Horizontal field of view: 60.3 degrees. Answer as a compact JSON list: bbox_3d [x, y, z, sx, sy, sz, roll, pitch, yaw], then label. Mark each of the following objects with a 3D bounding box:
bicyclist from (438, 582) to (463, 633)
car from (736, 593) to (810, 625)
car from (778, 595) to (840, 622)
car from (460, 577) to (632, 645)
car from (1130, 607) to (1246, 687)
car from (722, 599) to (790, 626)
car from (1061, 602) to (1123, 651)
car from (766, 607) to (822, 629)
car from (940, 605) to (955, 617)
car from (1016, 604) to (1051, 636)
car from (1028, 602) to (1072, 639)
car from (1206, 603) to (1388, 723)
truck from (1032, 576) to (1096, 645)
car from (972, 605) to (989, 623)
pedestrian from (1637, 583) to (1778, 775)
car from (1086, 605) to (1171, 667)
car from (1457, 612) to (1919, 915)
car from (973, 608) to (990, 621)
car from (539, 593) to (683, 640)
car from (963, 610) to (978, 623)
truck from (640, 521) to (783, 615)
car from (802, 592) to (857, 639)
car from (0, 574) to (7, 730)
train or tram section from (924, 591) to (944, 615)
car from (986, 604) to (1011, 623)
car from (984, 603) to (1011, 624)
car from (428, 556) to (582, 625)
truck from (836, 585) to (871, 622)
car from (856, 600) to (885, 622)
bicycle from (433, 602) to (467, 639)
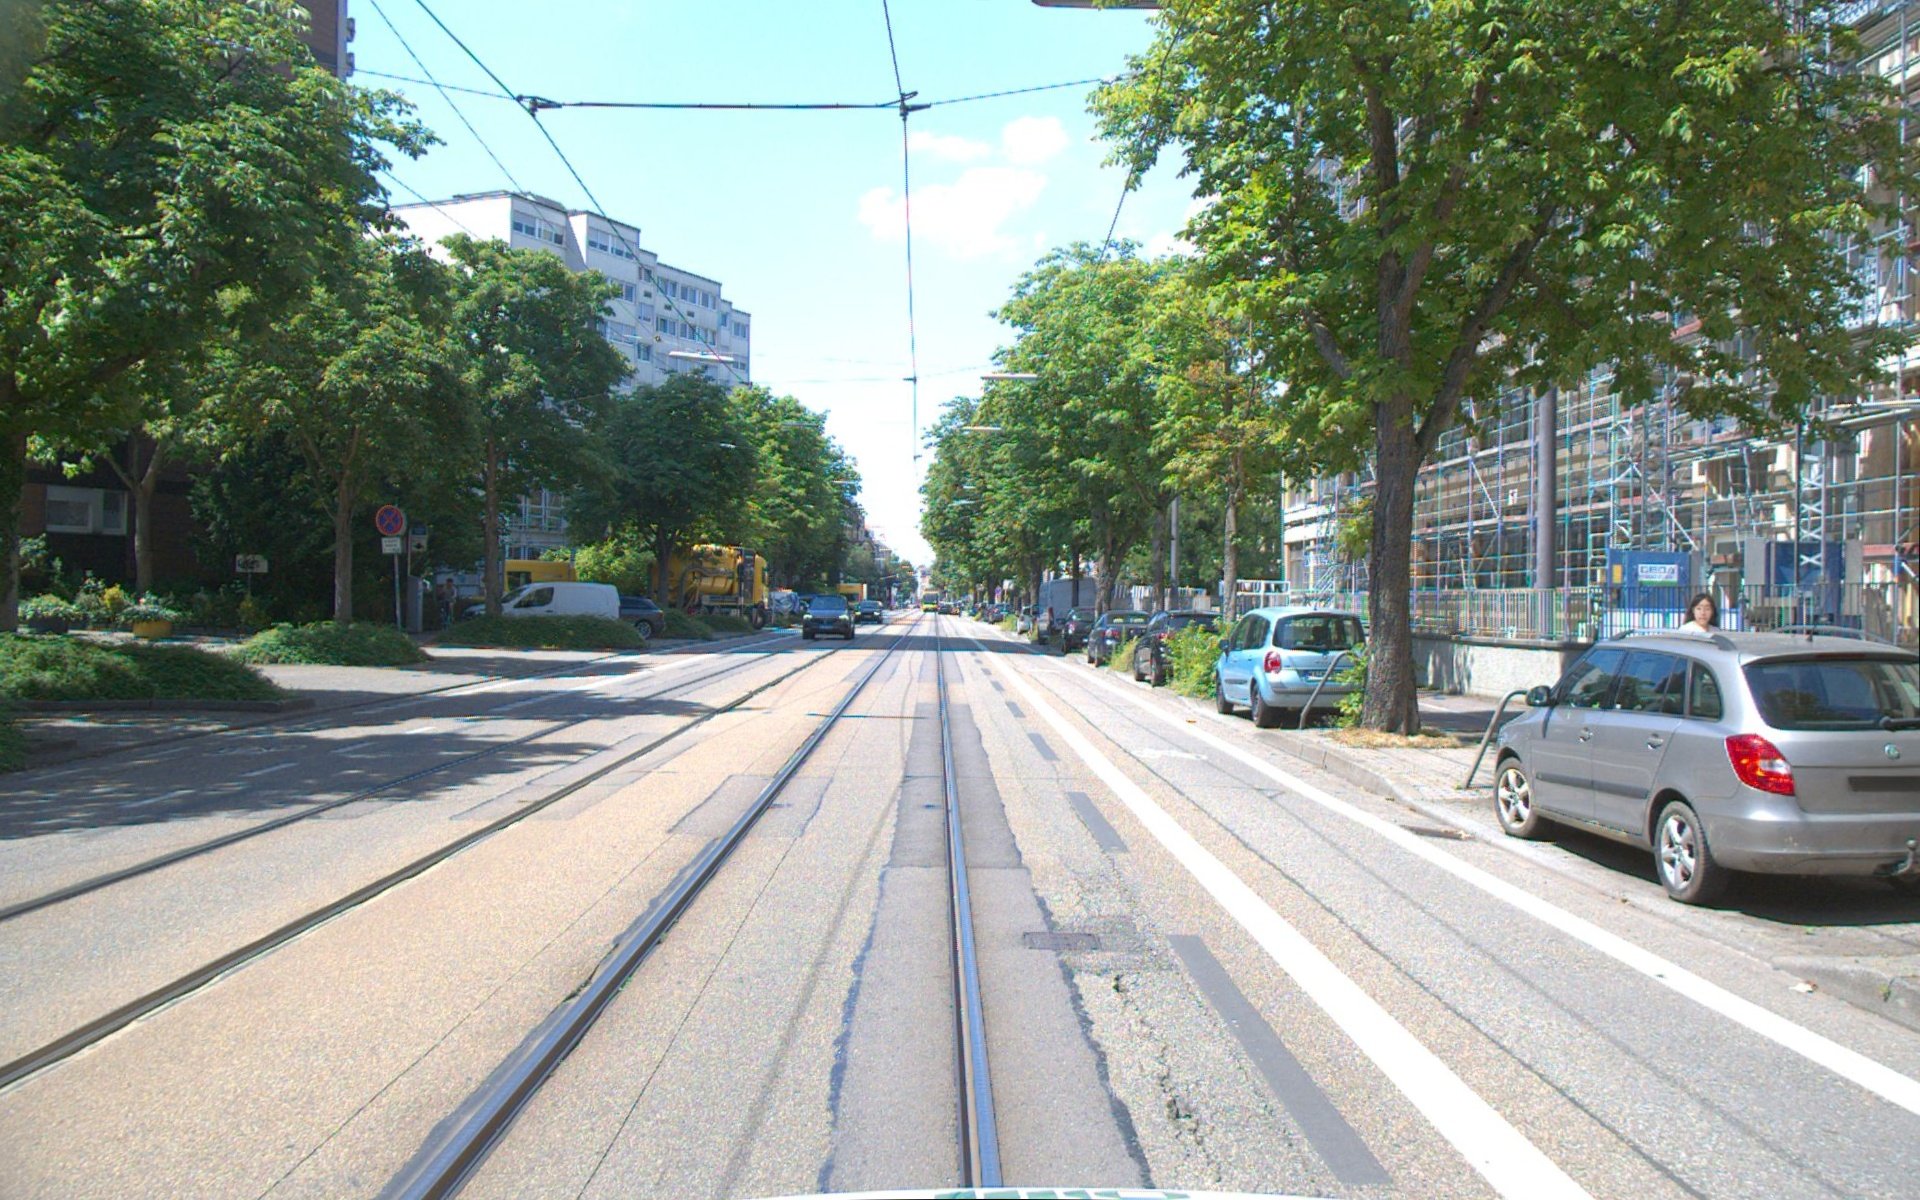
[{"bbox_3d":[-15.381,0.234,49.919,0.471,1.507,0.780,2,0,-3],"label":"bicyclist"},{"bbox_3d":[-12.130,0.574,107.412,1.887,1.968,4.729,-1,-1,41],"label":"car"},{"bbox_3d":[-12.177,0.710,133.545,4.718,2.098,1.997,-1,0,-40],"label":"car"},{"bbox_3d":[-12.061,0.327,48.267,4.492,1.822,1.879,2,0,-34],"label":"car"},{"bbox_3d":[4.495,0.889,33.121,1.637,1.463,4.040,1,0,-2],"label":"car"},{"bbox_3d":[-11.603,0.700,94.237,1.731,1.533,3.687,-1,0,42],"label":"car"},{"bbox_3d":[4.282,0.839,54.340,1.786,1.497,4.401,1,0,2],"label":"car"},{"bbox_3d":[-12.114,1.299,120.788,1.730,1.458,3.978,-3,-1,41],"label":"car"},{"bbox_3d":[-1.557,1.350,204.713,1.745,1.369,3.415,1,0,-1],"label":"car"},{"bbox_3d":[3.729,1.019,84.493,1.610,1.561,3.785,1,0,1],"label":"car"},{"bbox_3d":[3.926,0.892,72.653,1.611,1.561,3.946,1,0,-1],"label":"car"},{"bbox_3d":[4.737,0.833,23.811,1.637,1.544,4.200,1,0,-2],"label":"car"},{"bbox_3d":[4.028,0.385,64.943,1.973,2.532,5.954,1,0,-1],"label":"truck"},{"bbox_3d":[1.963,1.360,159.451,1.560,1.645,3.906,0,-1,-1],"label":"car"},{"bbox_3d":[6.519,0.666,14.471,0.783,1.616,0.919,-1,0,-2],"label":"pedestrian"},{"bbox_3d":[4.380,0.911,43.465,1.787,1.497,4.486,1,0,0],"label":"car"},{"bbox_3d":[4.862,0.877,10.831,1.638,1.525,4.362,1,0,-4],"label":"car"},{"bbox_3d":[2.287,1.596,178.697,1.676,1.448,4.308,0,-1,-1],"label":"car"},{"bbox_3d":[-11.616,0.565,55.198,4.405,1.419,1.747,2,0,-40],"label":"car"},{"bbox_3d":[1.219,1.980,196.779,1.676,1.448,4.308,0,-1,-1],"label":"car"},{"bbox_3d":[-11.465,-1.368,77.800,2.657,3.909,10.972,2,-1,13],"label":"truck"},{"bbox_3d":[-4.952,0.580,63.128,1.793,1.710,4.184,1,0,-1],"label":"car"},{"bbox_3d":[-11.835,0.487,15.730,4.713,1.594,1.982,1,0,-30],"label":"car"},{"bbox_3d":[-3.931,0.482,253.665,2.973,3.499,11.969,1,0,0],"label":"train or tram section"},{"bbox_3d":[3.069,1.082,131.096,1.838,1.480,4.527,0,-1,0],"label":"car"},{"bbox_3d":[2.660,0.986,118.280,1.606,1.511,3.869,0,-1,-4],"label":"car"},{"bbox_3d":[-19.001,-0.364,69.531,2.137,2.611,6.712,1,-2,29],"label":"car"},{"bbox_3d":[-8.606,0.255,134.066,2.312,2.902,7.378,0,0,1],"label":"truck"},{"bbox_3d":[-5.873,0.716,109.080,1.738,1.422,4.286,0,0,-1],"label":"car"},{"bbox_3d":[-15.407,0.600,49.997,0.507,1.065,1.875,2,0,-3],"label":"bicycle"}]
